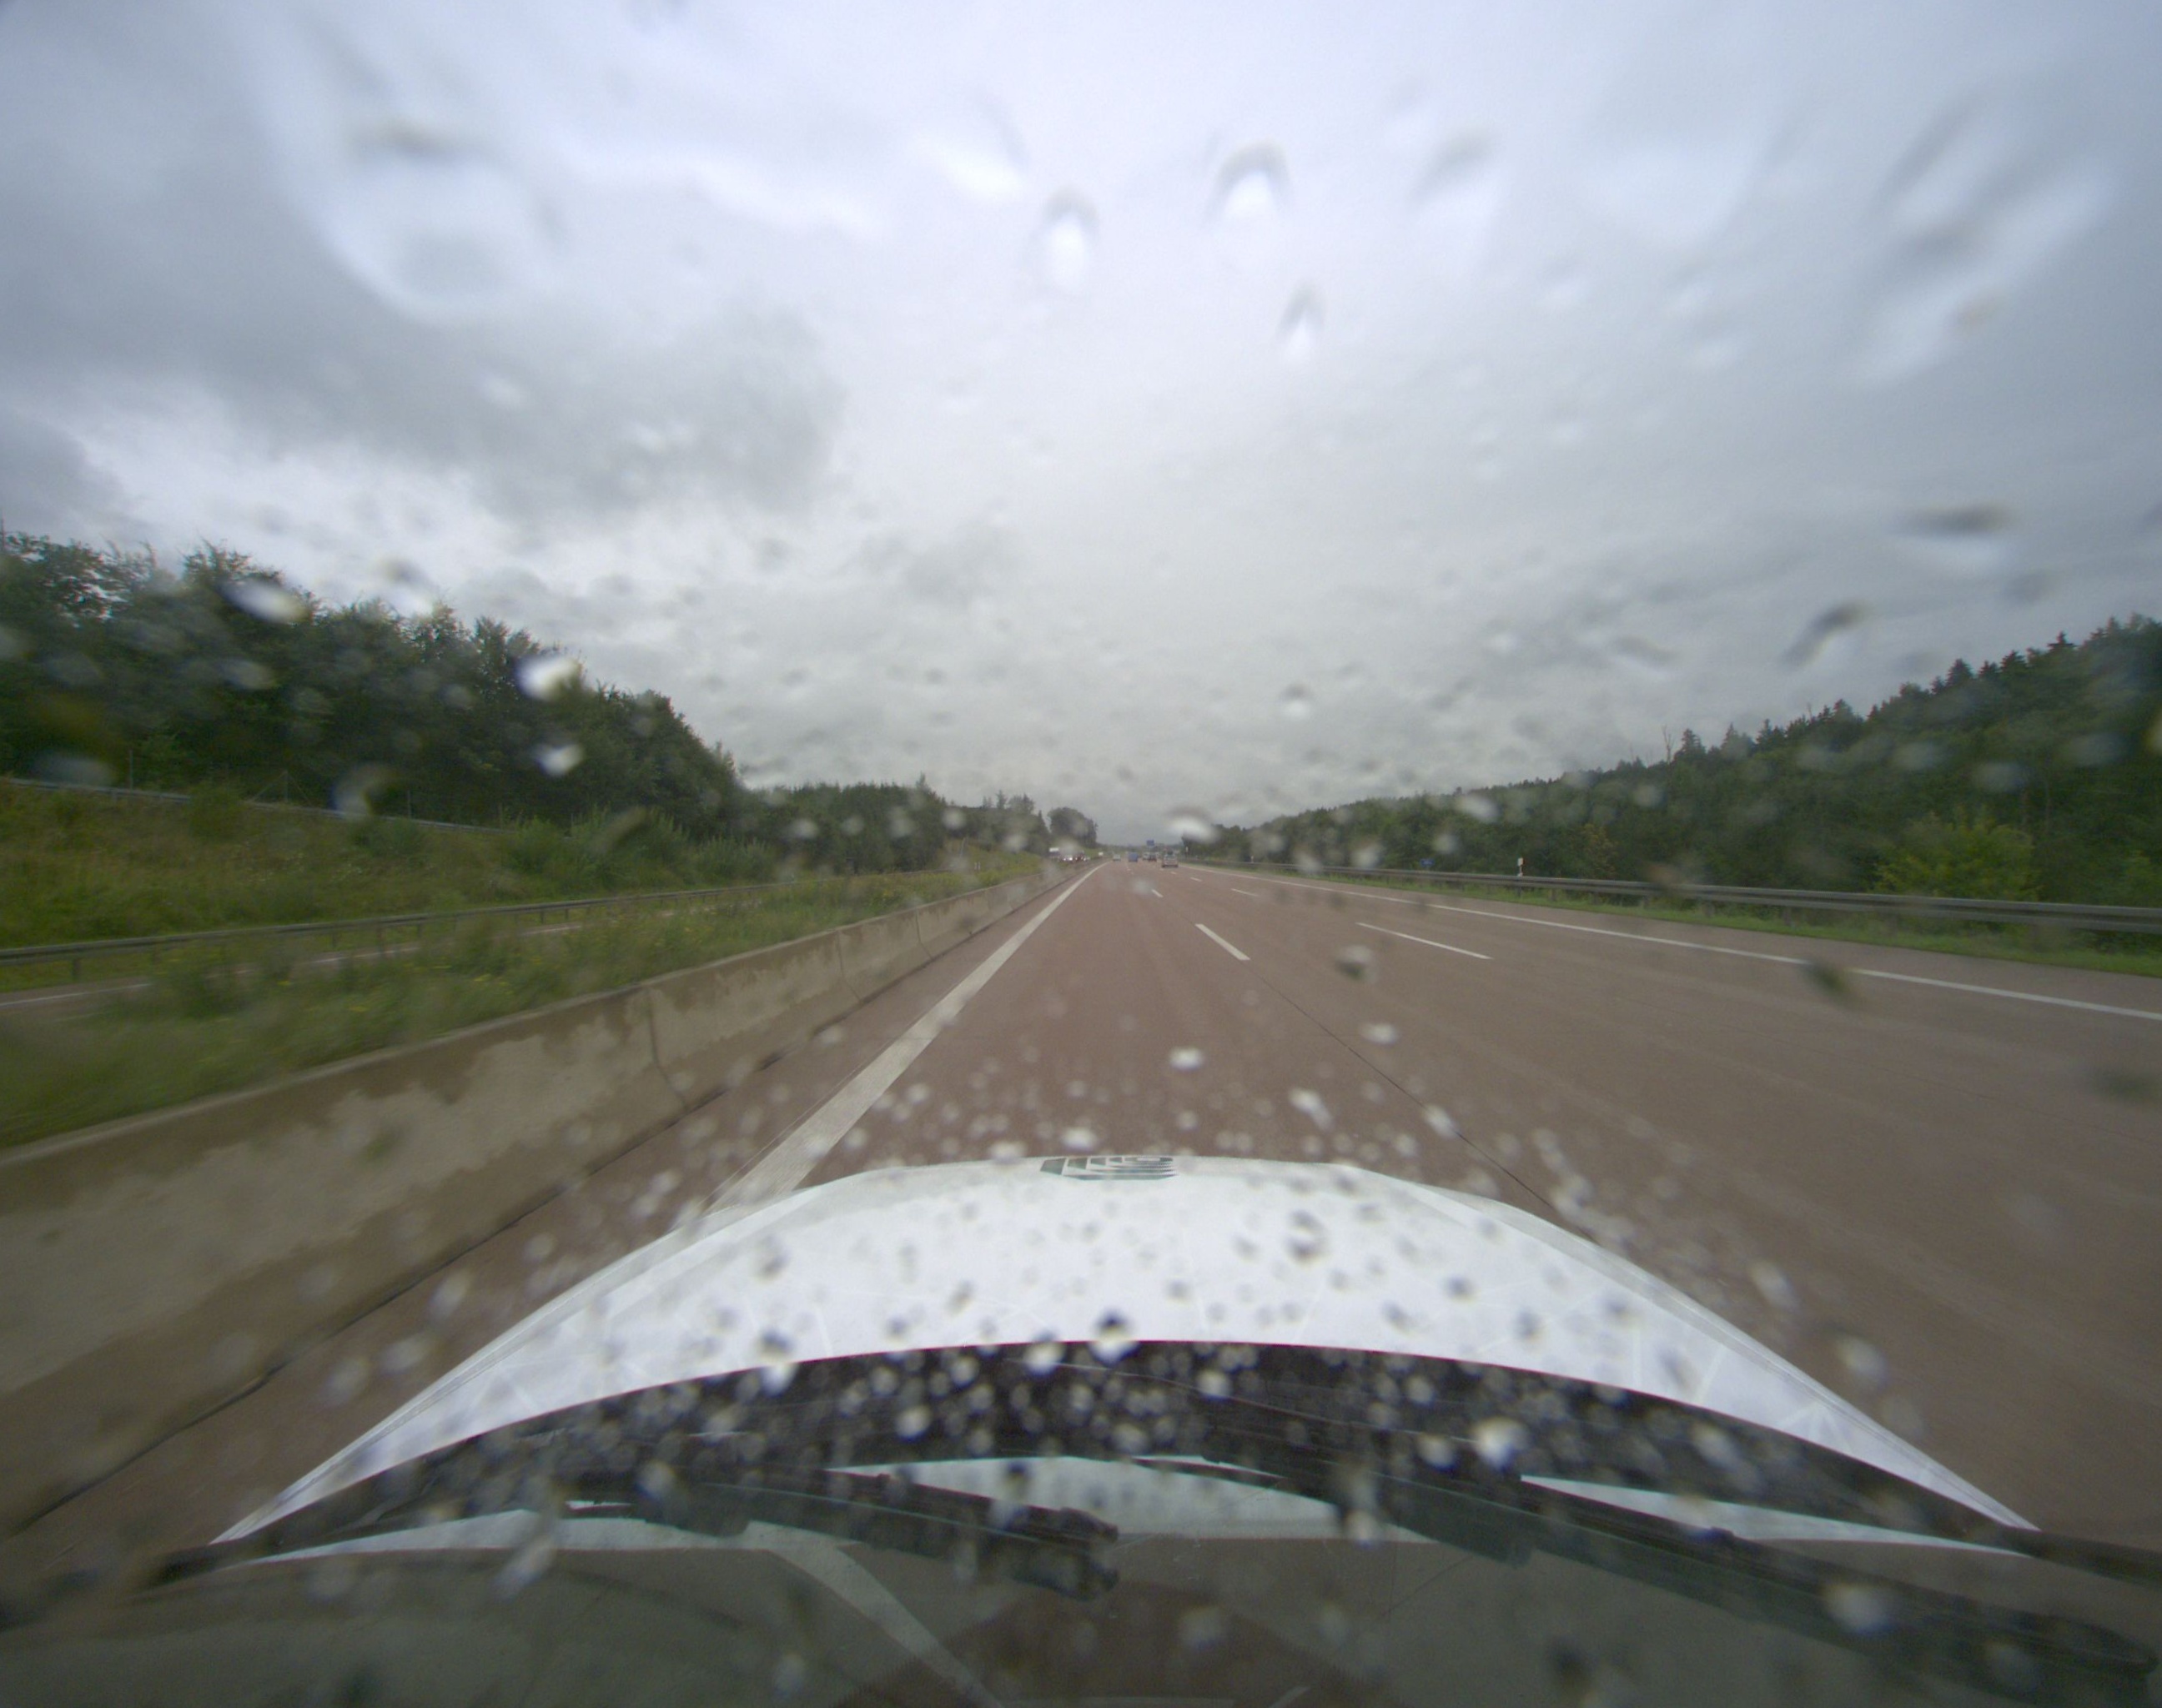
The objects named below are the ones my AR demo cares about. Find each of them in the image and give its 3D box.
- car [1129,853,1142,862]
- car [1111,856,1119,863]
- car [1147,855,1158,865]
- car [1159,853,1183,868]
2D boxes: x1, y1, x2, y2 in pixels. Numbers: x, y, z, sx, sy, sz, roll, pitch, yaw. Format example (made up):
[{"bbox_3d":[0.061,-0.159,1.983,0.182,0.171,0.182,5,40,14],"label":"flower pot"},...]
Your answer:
[{"bbox_3d":[11.732,0.747,174.269,2.316,1.750,4.873,0,-1,-2],"label":"car"},{"bbox_3d":[8.133,1.313,193.628,1.867,1.444,4.878,0,-1,2],"label":"car"},{"bbox_3d":[15.723,1.359,178.274,1.988,2.014,3.997,0,-1,-2],"label":"car"},{"bbox_3d":[10.840,0.839,98.690,2.316,1.750,4.873,0,-1,-2],"label":"car"}]
